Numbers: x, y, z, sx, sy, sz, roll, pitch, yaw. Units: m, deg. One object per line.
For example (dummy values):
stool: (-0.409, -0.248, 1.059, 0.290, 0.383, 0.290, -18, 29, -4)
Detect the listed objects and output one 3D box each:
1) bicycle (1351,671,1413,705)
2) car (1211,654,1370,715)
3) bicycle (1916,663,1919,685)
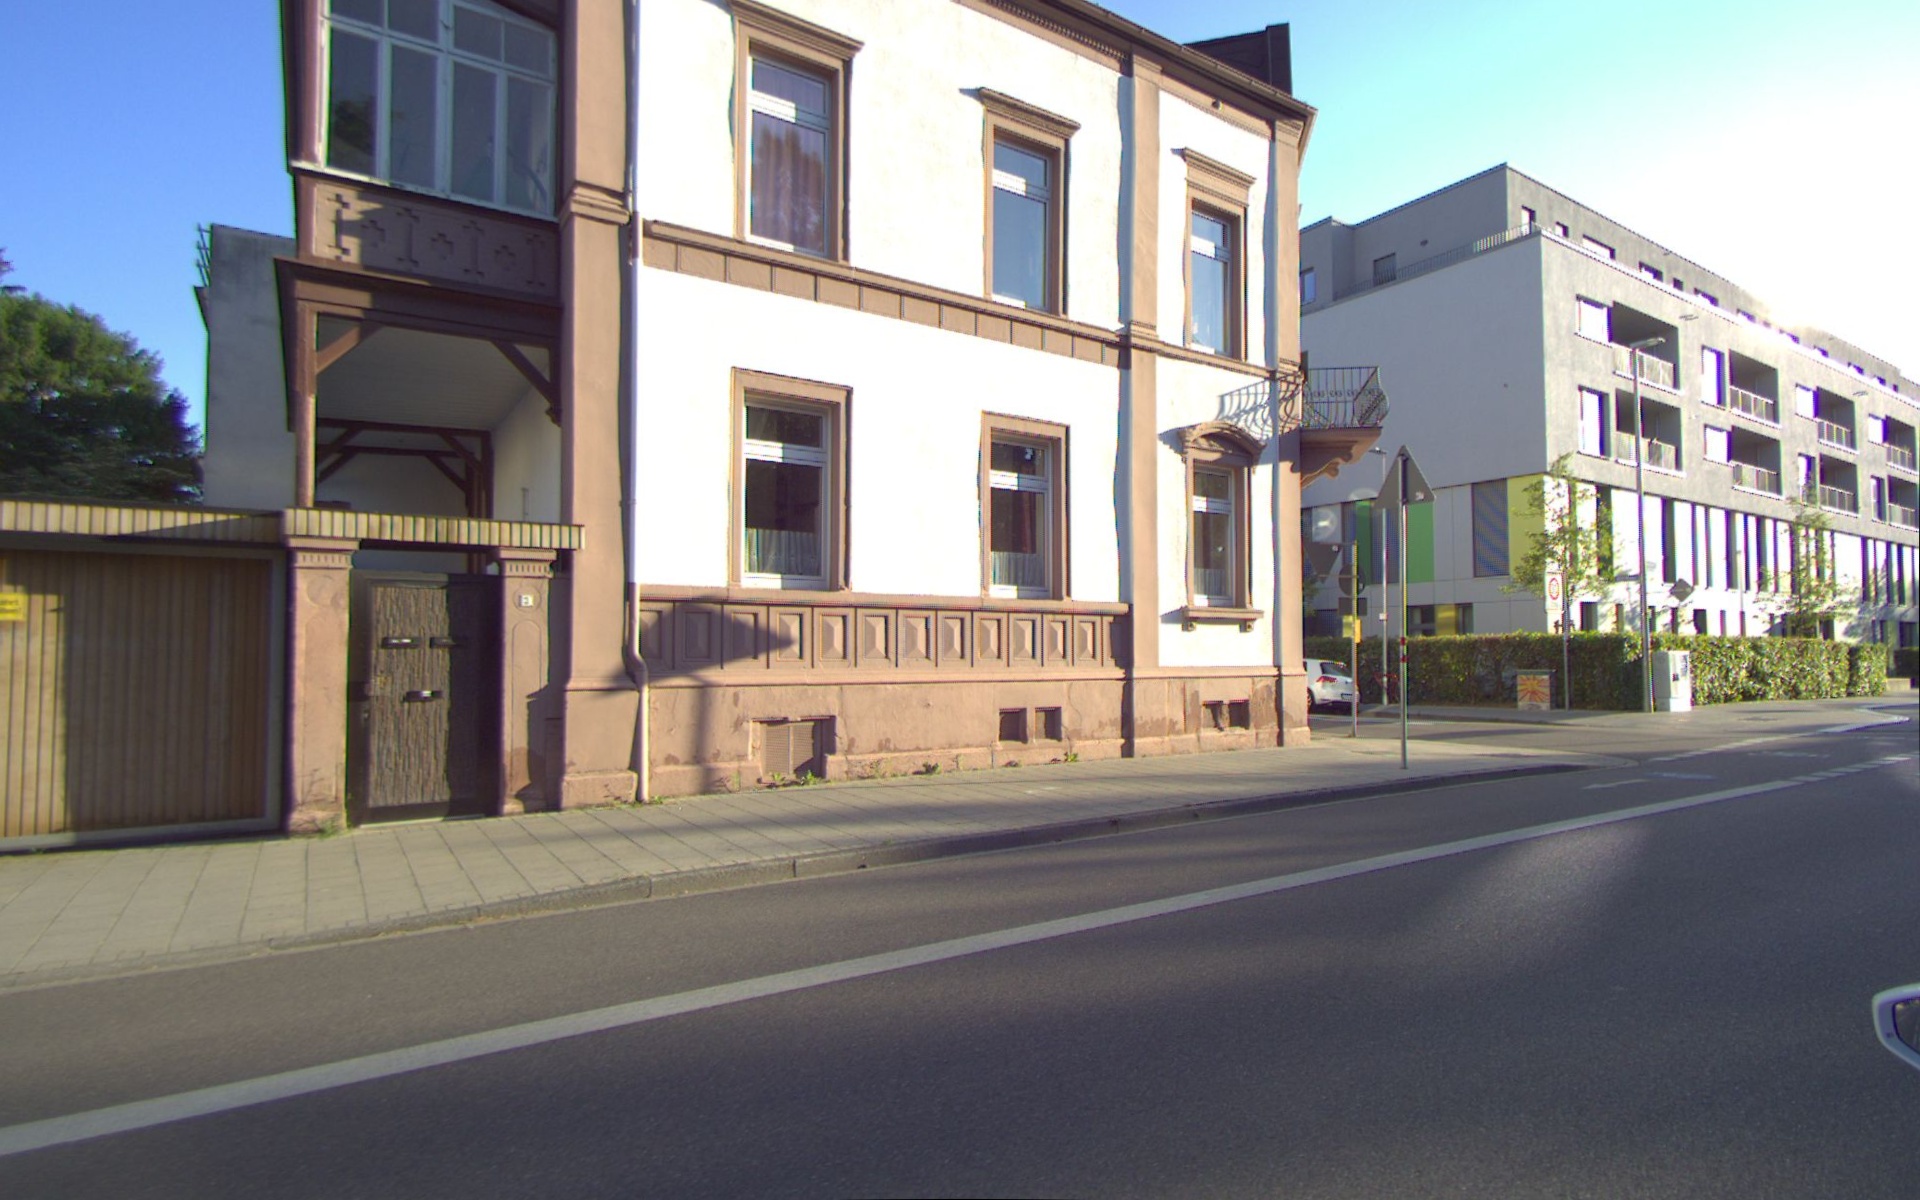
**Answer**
bicycle: (11.905, 2.470, 28.385, 0.507, 0.904, 1.588, 2, -3, -34)
car: (8.984, 2.282, 27.588, 1.799, 1.456, 3.886, 7, -6, -31)
bicycle: (40.381, 3.067, 41.106, 0.611, 0.930, 1.740, 2, -2, -35)
